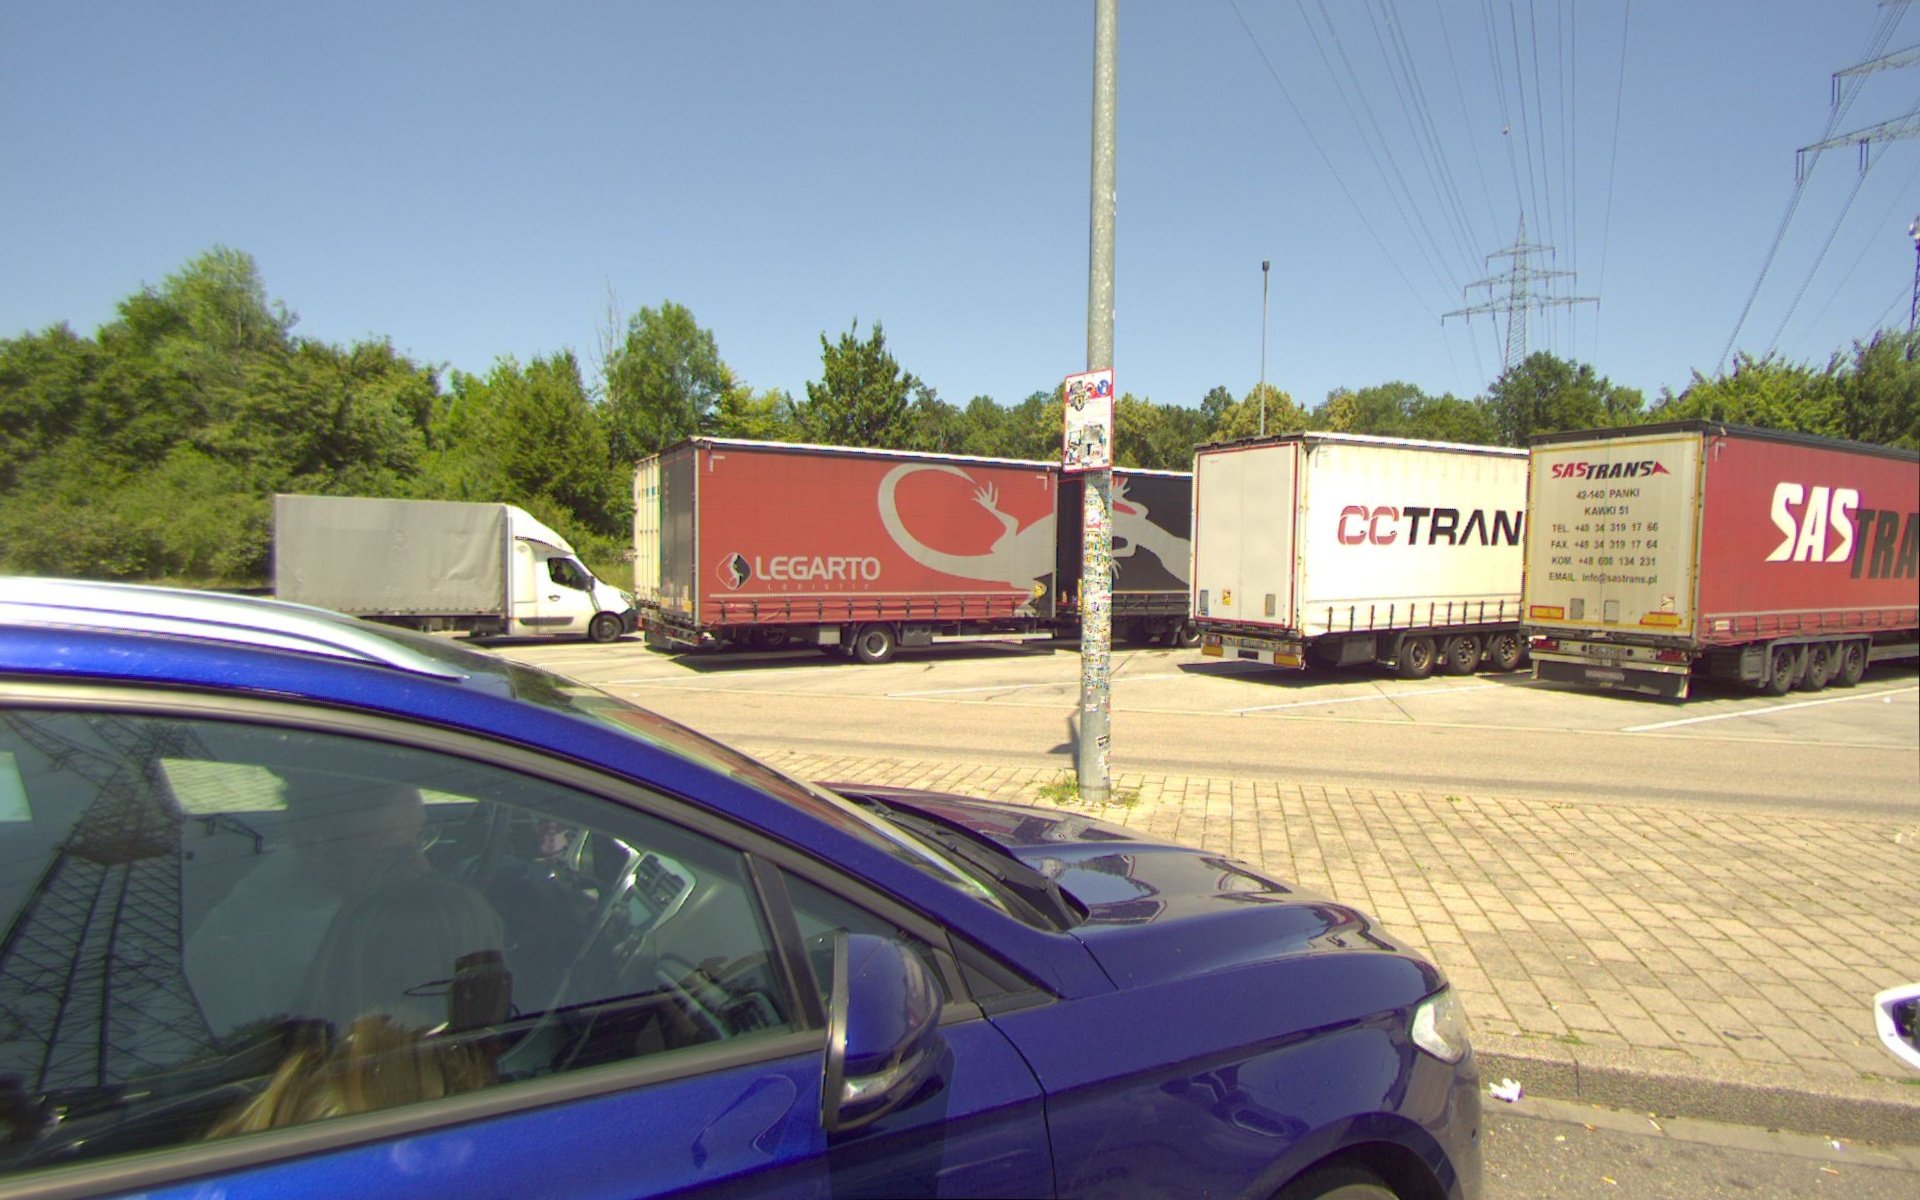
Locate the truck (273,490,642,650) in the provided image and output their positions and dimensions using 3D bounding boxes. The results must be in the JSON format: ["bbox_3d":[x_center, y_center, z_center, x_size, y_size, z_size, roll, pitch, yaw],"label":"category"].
[{"bbox_3d":[-11.126,-0.589,22.787,7.171,3.194,2.160,0,1,-30],"label":"truck"}]

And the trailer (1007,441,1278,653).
[{"bbox_3d":[4.415,-1.076,24.009,6.076,4.504,2.665,1,0,-30],"label":"trailer"}]

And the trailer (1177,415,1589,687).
[{"bbox_3d":[8.102,-0.756,18.831,8.189,4.208,2.741,0,1,-30],"label":"trailer"}]

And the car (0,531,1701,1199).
[{"bbox_3d":[-0.989,0.669,1.443,4.362,1.437,1.731,1,0,-30],"label":"car"}]

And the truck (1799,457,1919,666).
[{"bbox_3d":[21.439,-0.753,22.066,5.824,4.189,2.792,0,0,-30],"label":"truck"}]

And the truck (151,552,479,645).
[{"bbox_3d":[-15.449,-0.030,24.588,6.538,2.040,1.984,0,0,-30],"label":"truck"}]

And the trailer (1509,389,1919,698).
[{"bbox_3d":[15.256,-0.752,18.431,13.046,4.276,2.786,0,0,-31],"label":"trailer"}]

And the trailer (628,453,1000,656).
[{"bbox_3d":[-3.235,-0.897,23.421,8.189,4.053,2.720,0,0,-30],"label":"trailer"}]

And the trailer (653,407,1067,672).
[{"bbox_3d":[-1.849,-1.017,20.309,7.963,4.510,2.648,0,0,-31],"label":"trailer"}]
